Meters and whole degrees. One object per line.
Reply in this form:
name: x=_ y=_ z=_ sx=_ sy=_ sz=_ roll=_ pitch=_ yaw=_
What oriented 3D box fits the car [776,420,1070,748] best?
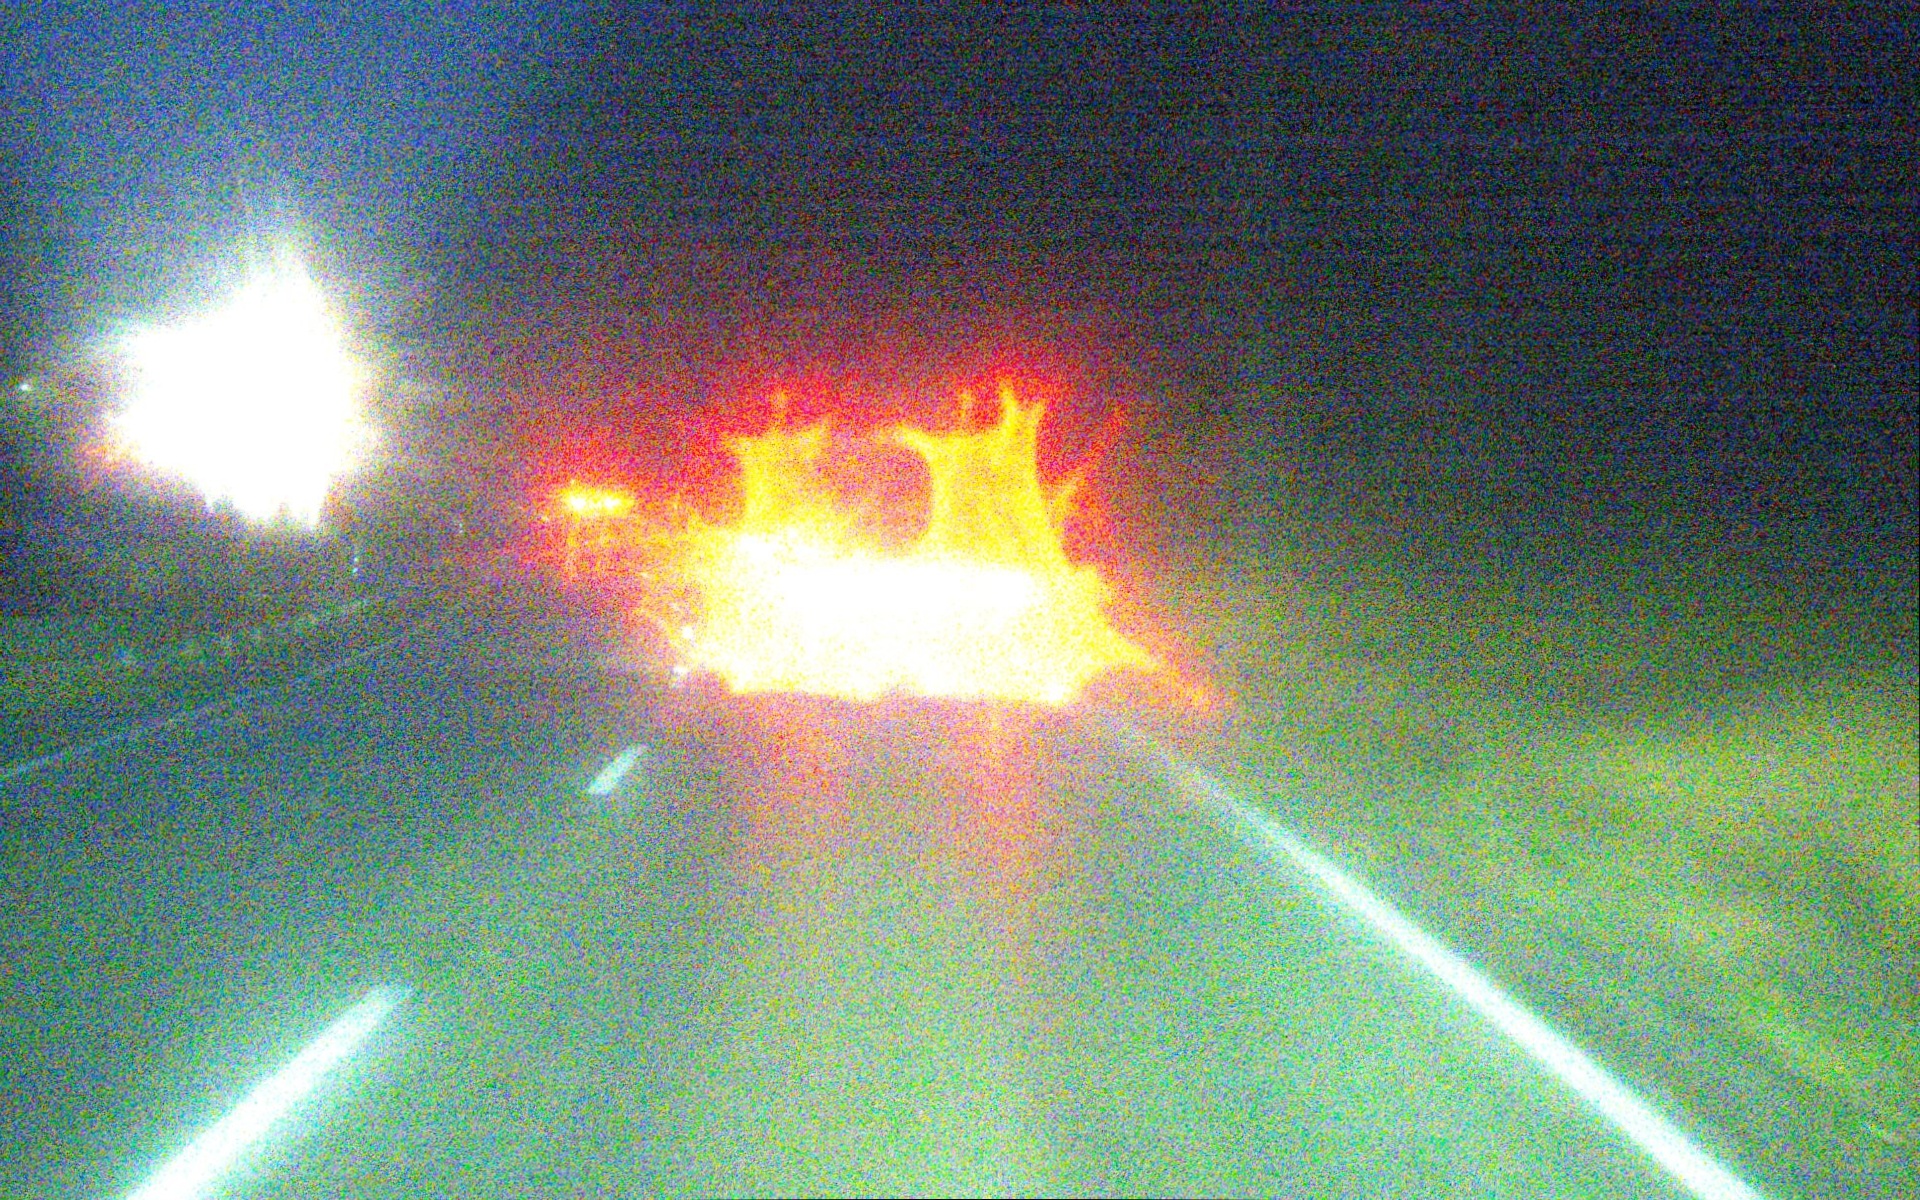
car: x=-0.418 y=-0.239 z=29.957 sx=2.180 sy=2.548 sz=4.509 roll=2 pitch=3 yaw=-4

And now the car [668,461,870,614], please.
car: x=-3.577 y=-1.285 z=66.215 sx=3.381 sy=2.548 sz=7.337 roll=2 pitch=3 yaw=0

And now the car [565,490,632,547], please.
car: x=-13.557 y=-3.048 z=129.123 sx=1.993 sy=2.007 sz=4.000 roll=-3 pitch=1 yaw=0
